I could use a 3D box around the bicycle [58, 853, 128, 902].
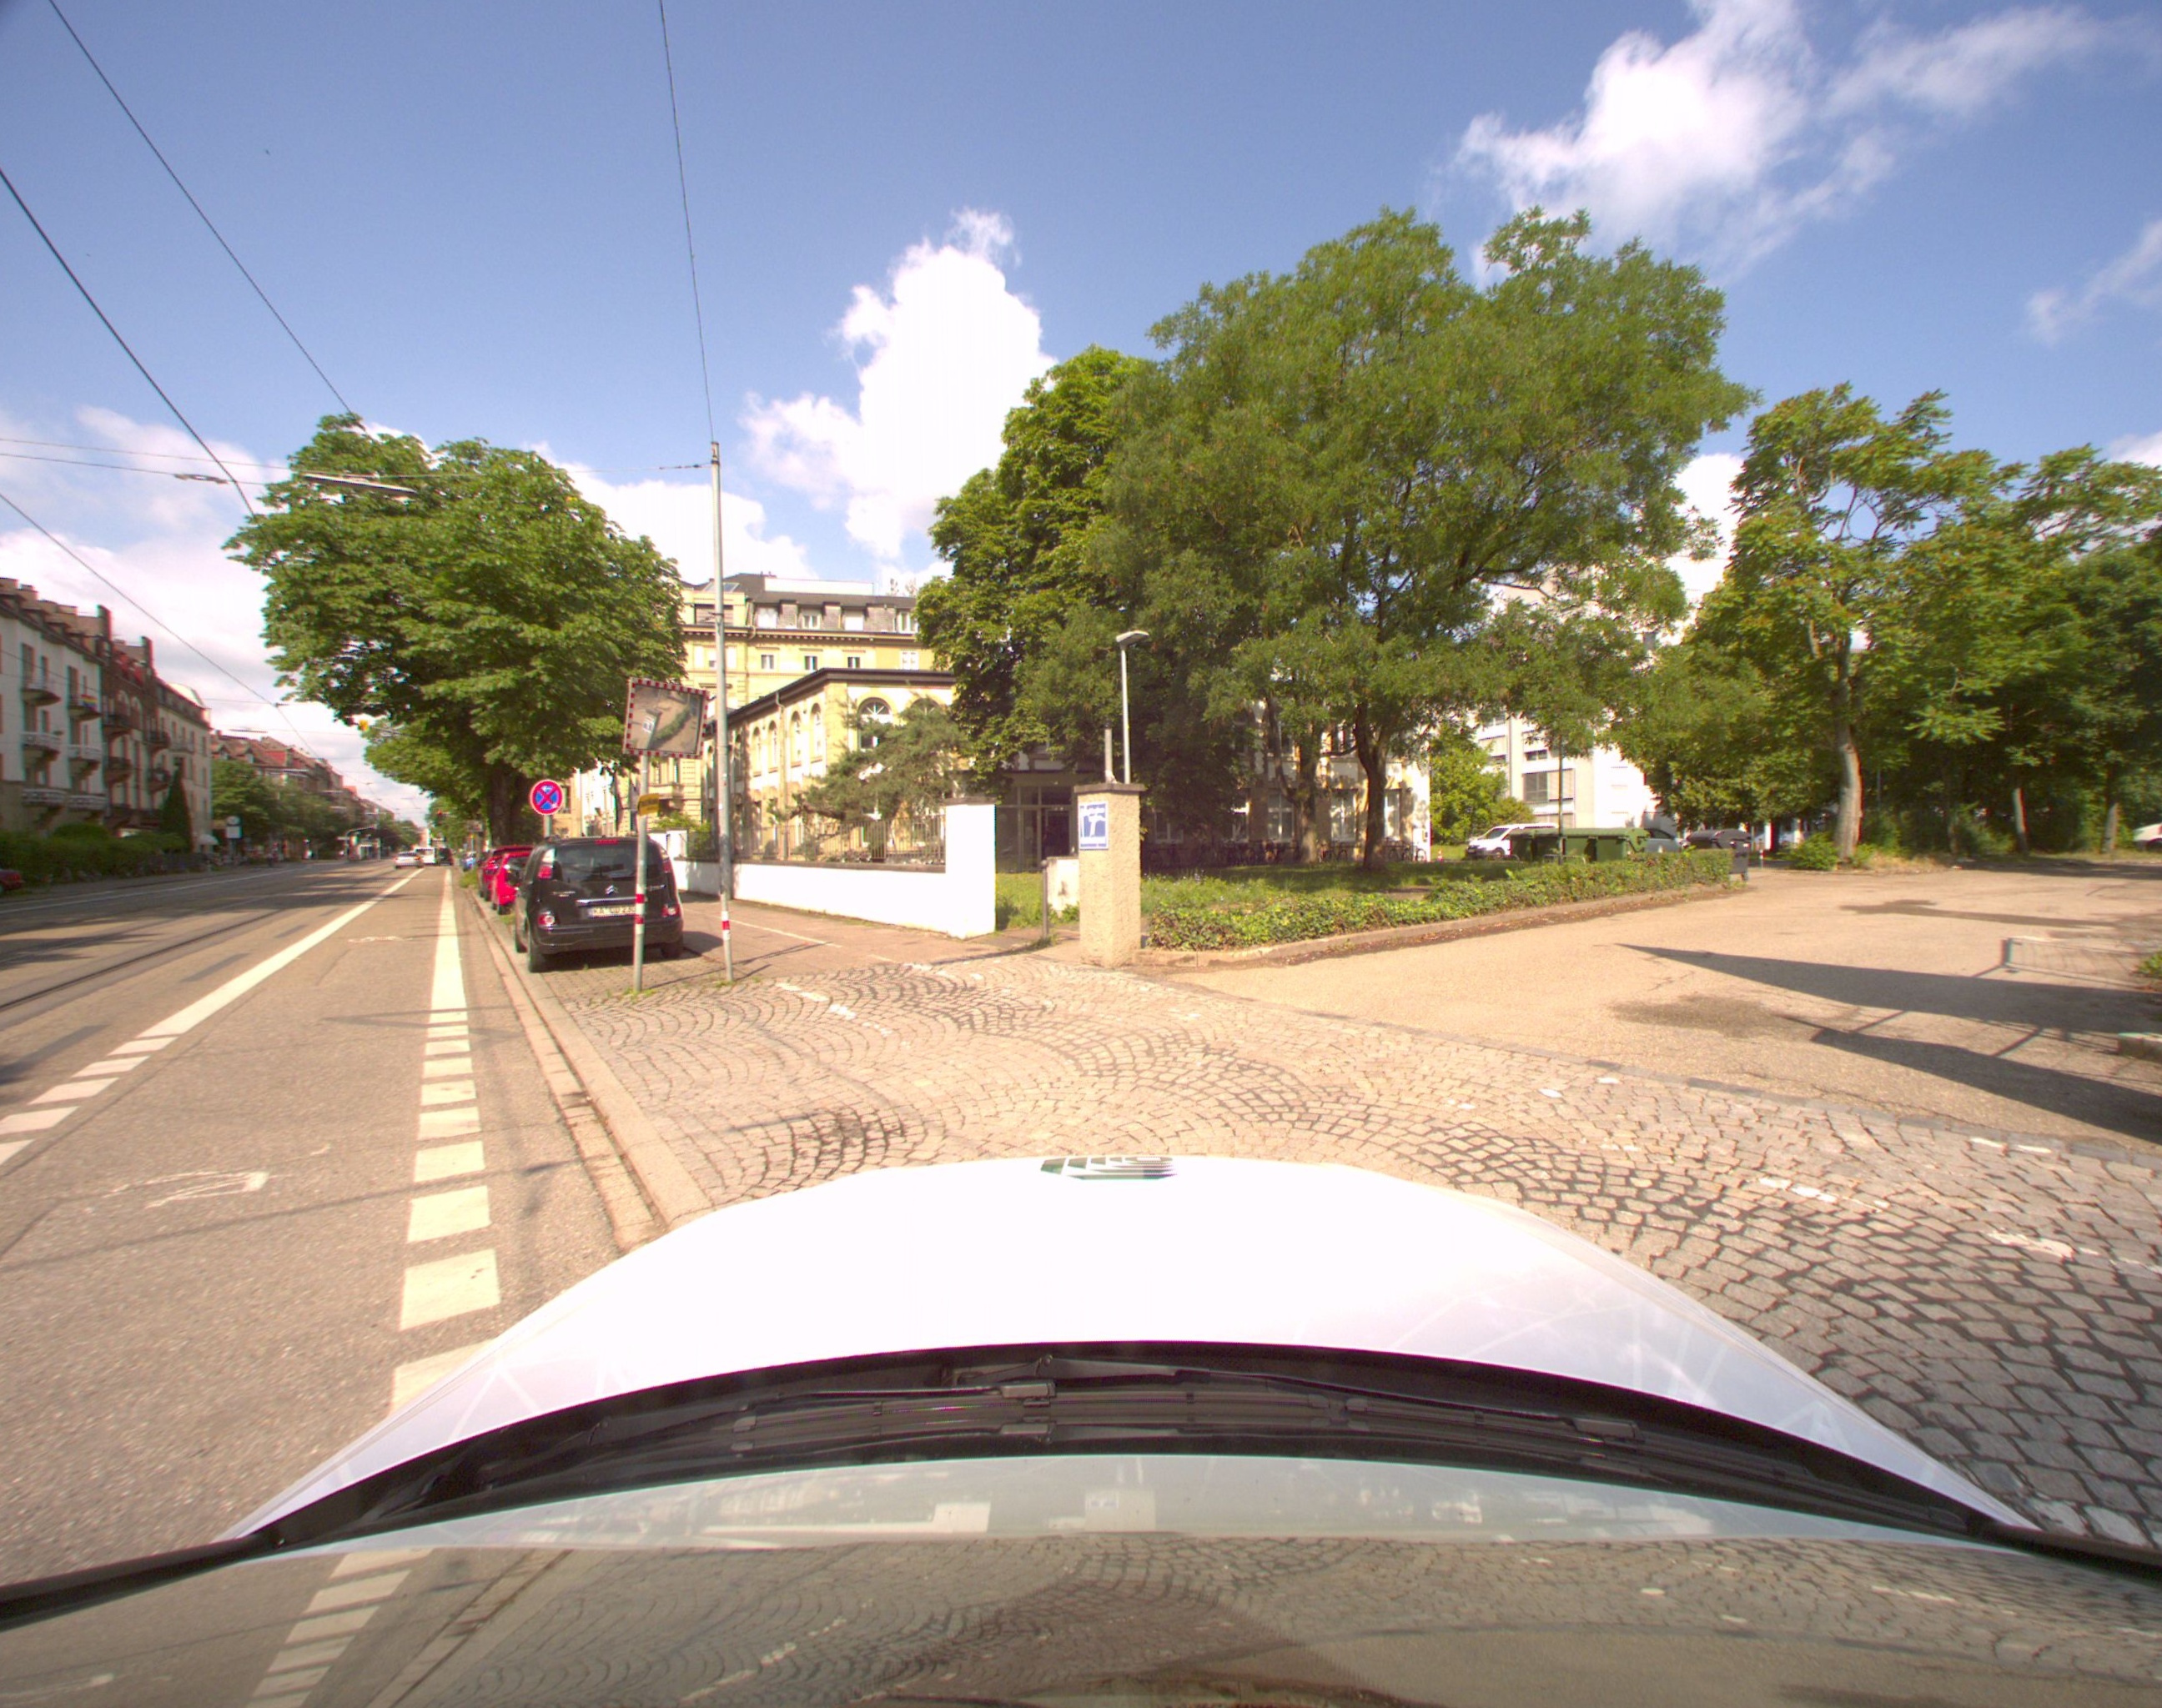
[{"bbox_3d":[-49.265,1.141,40.670,0.945,2.319,3.959,1,-1,-32],"label":"bicycle"}]

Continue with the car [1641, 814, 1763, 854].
[{"bbox_3d":[25.225,-0.790,33.125,3.906,1.420,1.752,-2,-1,-11],"label":"car"}]

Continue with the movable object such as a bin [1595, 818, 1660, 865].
[{"bbox_3d":[17.408,-0.365,25.985,1.102,1.452,1.335,1,-1,-16],"label":"movable object such as a bin"}]

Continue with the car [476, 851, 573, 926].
[{"bbox_3d":[-13.757,0.790,20.057,1.688,1.611,3.543,-3,1,-38],"label":"car"}]

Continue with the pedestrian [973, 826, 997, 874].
[{"bbox_3d":[-3.447,-0.131,29.252,0.771,1.678,0.805,1,-1,-12],"label":"pedestrian"}]

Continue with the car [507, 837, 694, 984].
[{"bbox_3d":[-6.615,0.611,11.042,1.688,1.611,3.544,-2,2,-38],"label":"car"}]

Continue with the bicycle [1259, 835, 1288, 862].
[{"bbox_3d":[7.837,-0.204,33.153,0.418,1.056,2.062,-3,-1,-6],"label":"bicycle"}]

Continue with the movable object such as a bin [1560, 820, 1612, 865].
[{"bbox_3d":[16.990,-0.363,27.408,0.879,1.452,1.227,1,-1,-16],"label":"movable object such as a bin"}]

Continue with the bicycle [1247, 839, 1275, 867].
[{"bbox_3d":[7.234,-0.020,32.859,0.418,1.056,2.062,-3,-1,-6],"label":"bicycle"}]

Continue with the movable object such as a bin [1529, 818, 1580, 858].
[{"bbox_3d":[16.659,-0.552,28.673,0.945,1.349,1.227,1,-1,-17],"label":"movable object such as a bin"}]

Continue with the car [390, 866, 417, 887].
[{"bbox_3d":[-58.203,1.925,70.002,1.634,1.684,3.524,1,-1,-38],"label":"car"}]

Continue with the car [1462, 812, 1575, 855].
[{"bbox_3d":[22.642,-1.036,42.219,4.938,1.965,1.993,-1,-3,-9],"label":"car"}]

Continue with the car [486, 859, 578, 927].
[{"bbox_3d":[-13.659,0.904,20.192,1.680,1.486,3.242,-1,0,-38],"label":"car"}]

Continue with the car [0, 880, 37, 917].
[{"bbox_3d":[-40.696,1.631,29.080,1.621,1.306,3.800,0,-1,14],"label":"car"}]

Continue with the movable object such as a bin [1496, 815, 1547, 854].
[{"bbox_3d":[16.196,-0.700,29.982,0.945,1.349,1.373,1,-1,-17],"label":"movable object such as a bin"}]

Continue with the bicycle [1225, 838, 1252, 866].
[{"bbox_3d":[6.343,-0.071,32.884,0.418,1.056,2.062,-3,-1,-6],"label":"bicycle"}]

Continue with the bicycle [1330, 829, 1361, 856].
[{"bbox_3d":[10.832,-0.450,33.398,0.418,1.056,2.062,1,-1,-6],"label":"bicycle"}]

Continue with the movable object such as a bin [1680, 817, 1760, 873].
[{"bbox_3d":[17.552,-0.277,22.402,1.238,1.482,1.300,1,2,9],"label":"movable object such as a bin"}]

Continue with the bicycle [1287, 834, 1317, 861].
[{"bbox_3d":[9.030,-0.248,33.315,0.418,1.056,2.062,-3,-1,-7],"label":"bicycle"}]

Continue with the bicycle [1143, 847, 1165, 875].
[{"bbox_3d":[2.844,0.276,31.931,0.418,1.056,2.062,-3,-1,-6],"label":"bicycle"}]

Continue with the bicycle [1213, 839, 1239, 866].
[{"bbox_3d":[5.830,-0.047,32.830,0.418,1.056,2.062,-3,-1,-6],"label":"bicycle"}]

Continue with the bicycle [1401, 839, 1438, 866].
[{"bbox_3d":[14.165,-0.048,34.122,0.418,1.056,2.062,-3,-1,-6],"label":"bicycle"}]

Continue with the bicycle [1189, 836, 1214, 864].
[{"bbox_3d":[4.805,-0.156,32.477,0.418,1.056,2.062,-3,-1,-6],"label":"bicycle"}]

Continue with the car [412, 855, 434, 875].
[{"bbox_3d":[-66.353,1.122,82.156,1.634,2.000,3.524,1,-1,-38],"label":"car"}]

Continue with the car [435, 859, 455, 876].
[{"bbox_3d":[-70.335,1.444,90.049,1.634,1.849,3.524,1,-1,-38],"label":"car"}]

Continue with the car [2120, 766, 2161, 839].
[{"bbox_3d":[47.338,-2.202,32.546,2.004,3.047,6.916,-1,0,-26],"label":"car"}]

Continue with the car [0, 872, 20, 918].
[{"bbox_3d":[-38.816,1.326,27.209,1.617,1.578,3.616,2,-3,13],"label":"car"}]

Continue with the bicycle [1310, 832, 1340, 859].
[{"bbox_3d":[10.001,-0.331,33.427,0.418,1.056,2.062,1,-1,-6],"label":"bicycle"}]

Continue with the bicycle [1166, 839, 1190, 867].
[{"bbox_3d":[3.817,-0.030,32.237,0.418,1.056,2.062,-3,-1,-6],"label":"bicycle"}]

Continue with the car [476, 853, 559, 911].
[{"bbox_3d":[-17.873,0.843,25.771,1.975,1.706,3.956,1,-1,-36],"label":"car"}]
